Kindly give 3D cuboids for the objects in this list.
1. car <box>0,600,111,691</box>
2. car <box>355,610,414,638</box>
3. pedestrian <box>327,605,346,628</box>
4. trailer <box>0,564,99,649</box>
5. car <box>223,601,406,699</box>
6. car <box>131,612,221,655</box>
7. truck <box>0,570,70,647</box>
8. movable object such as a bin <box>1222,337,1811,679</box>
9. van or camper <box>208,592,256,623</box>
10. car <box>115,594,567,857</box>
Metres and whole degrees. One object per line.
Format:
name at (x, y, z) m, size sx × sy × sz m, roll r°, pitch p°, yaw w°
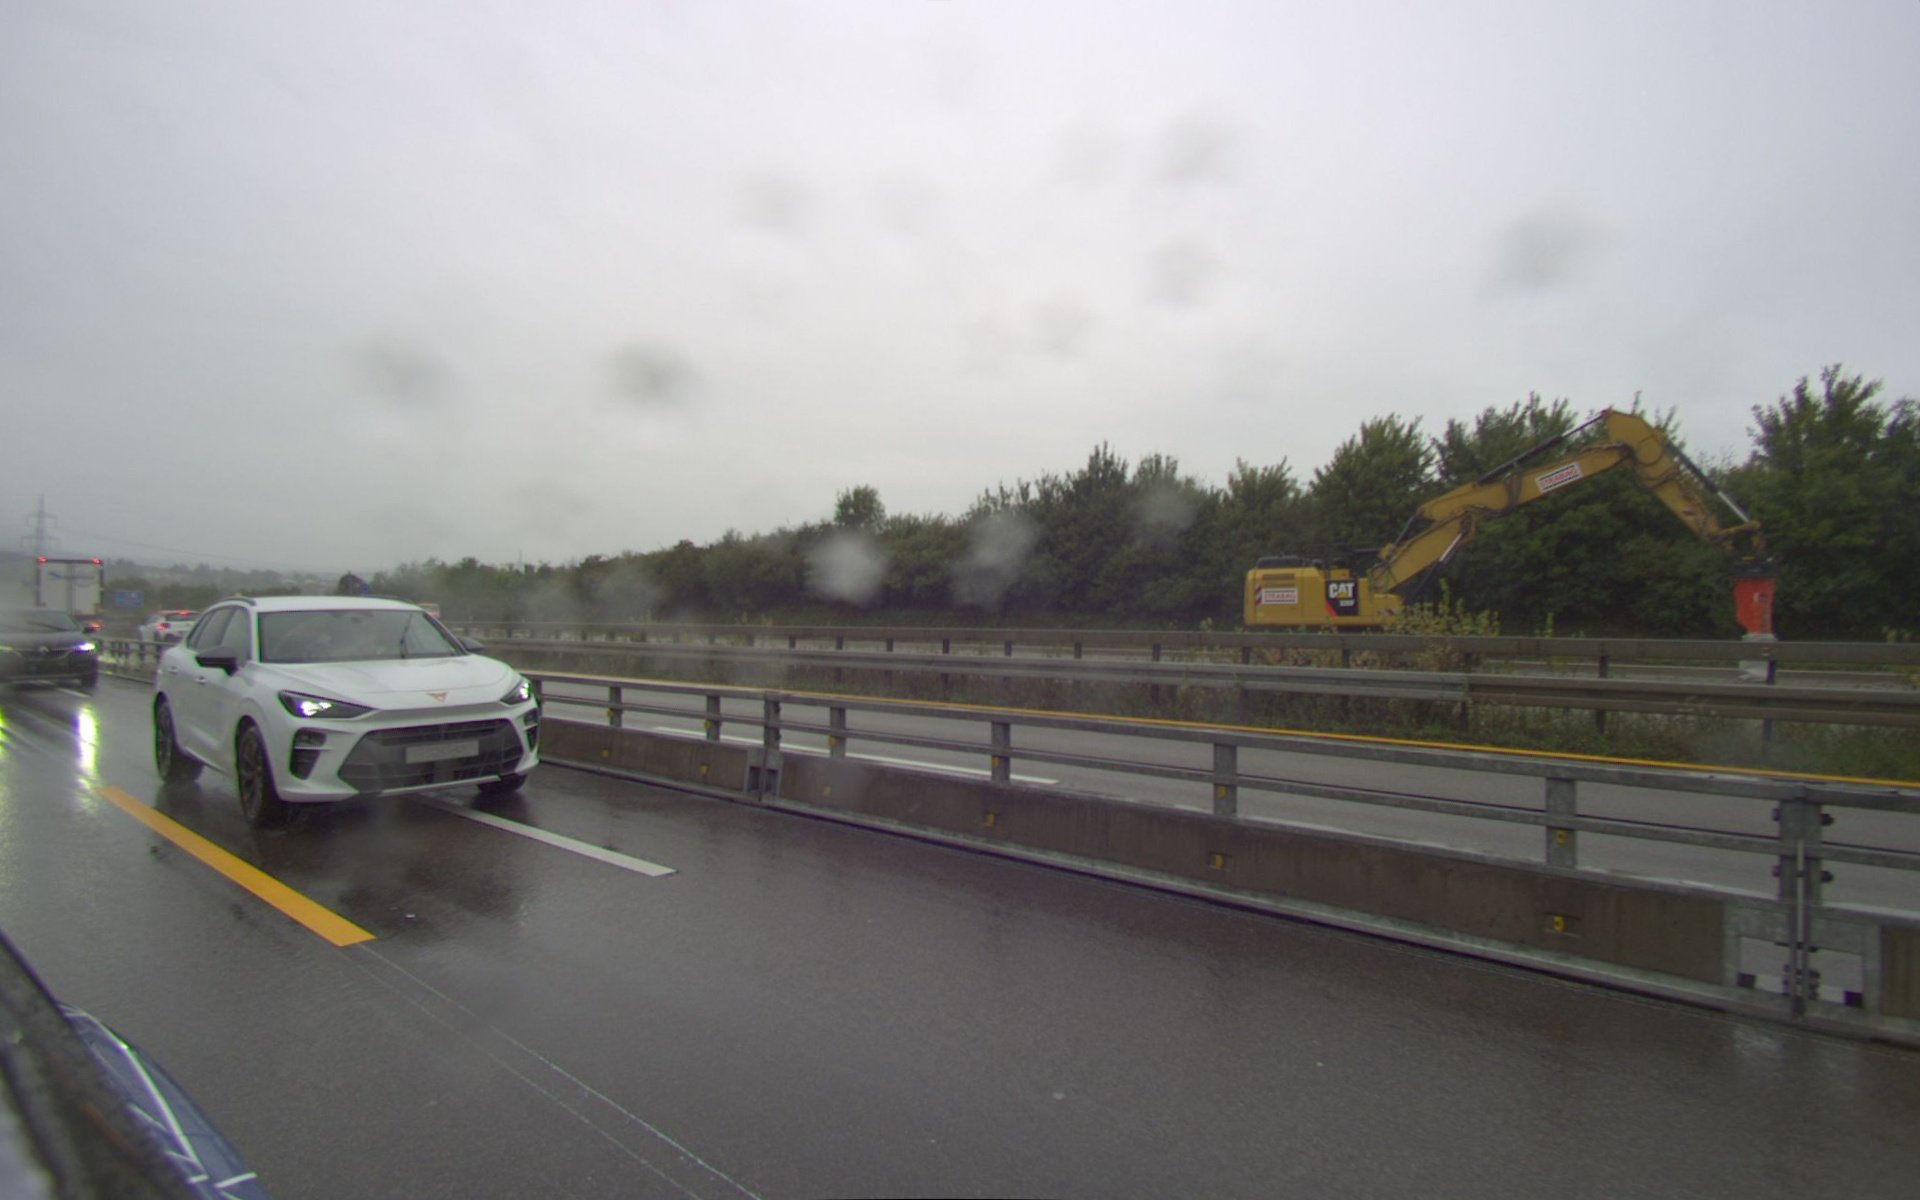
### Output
car at (-18.976, 0.850, 20.541) m, size 5.195 × 1.640 × 2.041 m, roll -1°, pitch -1°, yaw 43°
car at (-43.146, 1.768, 75.828) m, size 5.359 × 1.981 × 2.073 m, roll -1°, pitch -1°, yaw 39°
pedestrian at (-54.487, 1.430, 88.468) m, size 1.124 × 2.029 × 1.095 m, roll 0°, pitch 1°, yaw 36°
trailer at (-49.089, 0.472, 54.141) m, size 12.214 × 4.121 × 2.877 m, roll -2°, pitch -2°, yaw 41°
car at (-12.128, 0.835, 18.921) m, size 4.182 × 1.605 × 1.783 m, roll 0°, pitch 1°, yaw 41°
car at (-30.230, 1.239, 38.989) m, size 4.294 × 1.517 × 1.973 m, roll 0°, pitch 0°, yaw 41°
truck at (-53.625, 0.545, 58.150) m, size 6.923 × 4.133 × 2.853 m, roll -2°, pitch -2°, yaw 41°
movable object such as a bin at (11.958, -1.617, 22.997) m, size 11.049 × 5.959 × 4.124 m, roll 0°, pitch 1°, yaw 44°
van or camper at (-104.843, 1.088, 145.787) m, size 8.494 × 4.356 × 3.335 m, roll 0°, pitch 1°, yaw 38°
car at (-5.372, 0.770, 8.429) m, size 5.006 × 1.562 × 1.907 m, roll -1°, pitch -1°, yaw 43°
